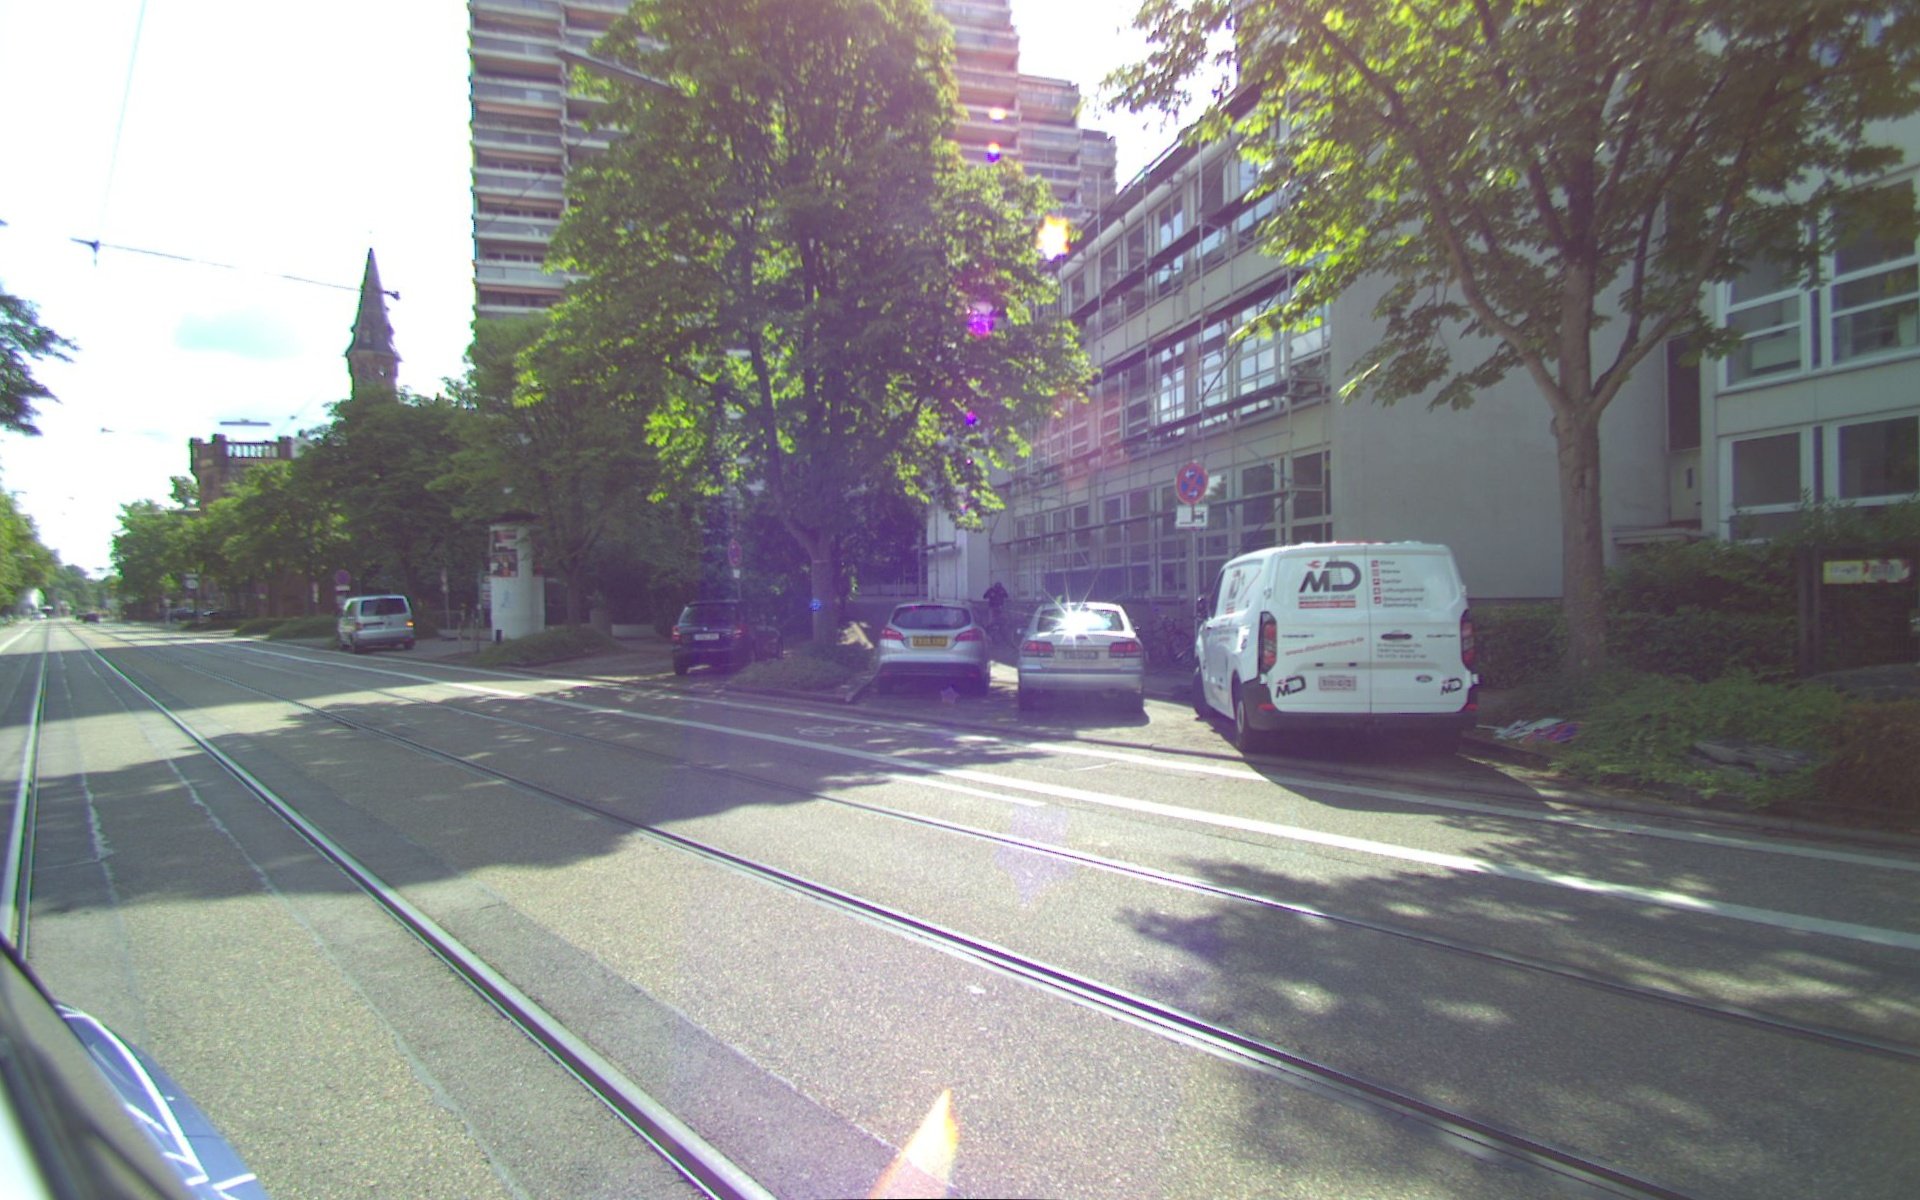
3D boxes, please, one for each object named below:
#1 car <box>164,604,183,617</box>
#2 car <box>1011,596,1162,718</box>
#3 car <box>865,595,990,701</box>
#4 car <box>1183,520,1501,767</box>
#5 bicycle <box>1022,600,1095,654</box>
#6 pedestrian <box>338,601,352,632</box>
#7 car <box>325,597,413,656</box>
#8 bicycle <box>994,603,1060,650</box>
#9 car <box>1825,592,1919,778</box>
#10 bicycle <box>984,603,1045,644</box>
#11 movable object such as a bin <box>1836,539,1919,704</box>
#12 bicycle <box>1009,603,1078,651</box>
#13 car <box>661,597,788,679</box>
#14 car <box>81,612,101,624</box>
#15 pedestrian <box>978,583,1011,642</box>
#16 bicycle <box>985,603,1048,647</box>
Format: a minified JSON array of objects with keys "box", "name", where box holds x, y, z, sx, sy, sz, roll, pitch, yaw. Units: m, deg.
[{"box":[-101.010,1.344,129.921,1.605,1.586,3.957,3,-2,-42],"name":"car"},{"box":[1.707,0.697,14.408,1.799,1.461,4.165,-1,0,5],"name":"car"},{"box":[-0.429,0.701,16.851,1.797,1.512,4.191,-1,0,1],"name":"car"},{"box":[3.659,0.369,10.700,1.944,2.012,4.678,-1,0,6],"name":"car"},{"box":[2.276,0.625,23.482,1.553,1.171,0.544,-1,-2,-19],"name":"bicycle"},{"box":[-35.624,0.938,58.632,0.533,1.767,0.457,2,4,41],"name":"pedestrian"},{"box":[-21.090,0.894,36.031,1.864,1.865,4.243,-5,3,-41],"name":"car"},{"box":[1.696,0.676,25.689,1.553,1.122,0.544,-1,-2,-19],"name":"bicycle"},{"box":[8.294,0.632,6.586,1.696,1.428,4.003,1,-1,-4],"name":"car"},{"box":[1.508,0.647,27.919,1.553,1.089,0.544,-1,-2,-18],"name":"bicycle"},{"box":[11.001,0.260,11.493,1.539,1.795,1.371,0,-2,44],"name":"movable object such as a bin"},{"box":[2.057,0.659,24.998,1.553,1.130,0.544,-1,-2,-19],"name":"bicycle"},{"box":[-4.877,0.723,21.466,1.718,1.535,3.884,-1,0,1],"name":"car"},{"box":[-125.814,2.650,146.524,1.865,1.656,4.239,-2,1,-44],"name":"car"},{"box":[0.977,0.334,28.558,0.661,1.636,0.633,0,2,40],"name":"pedestrian"},{"box":[1.510,0.672,27.002,1.553,1.101,0.544,-1,-2,-18],"name":"bicycle"}]
